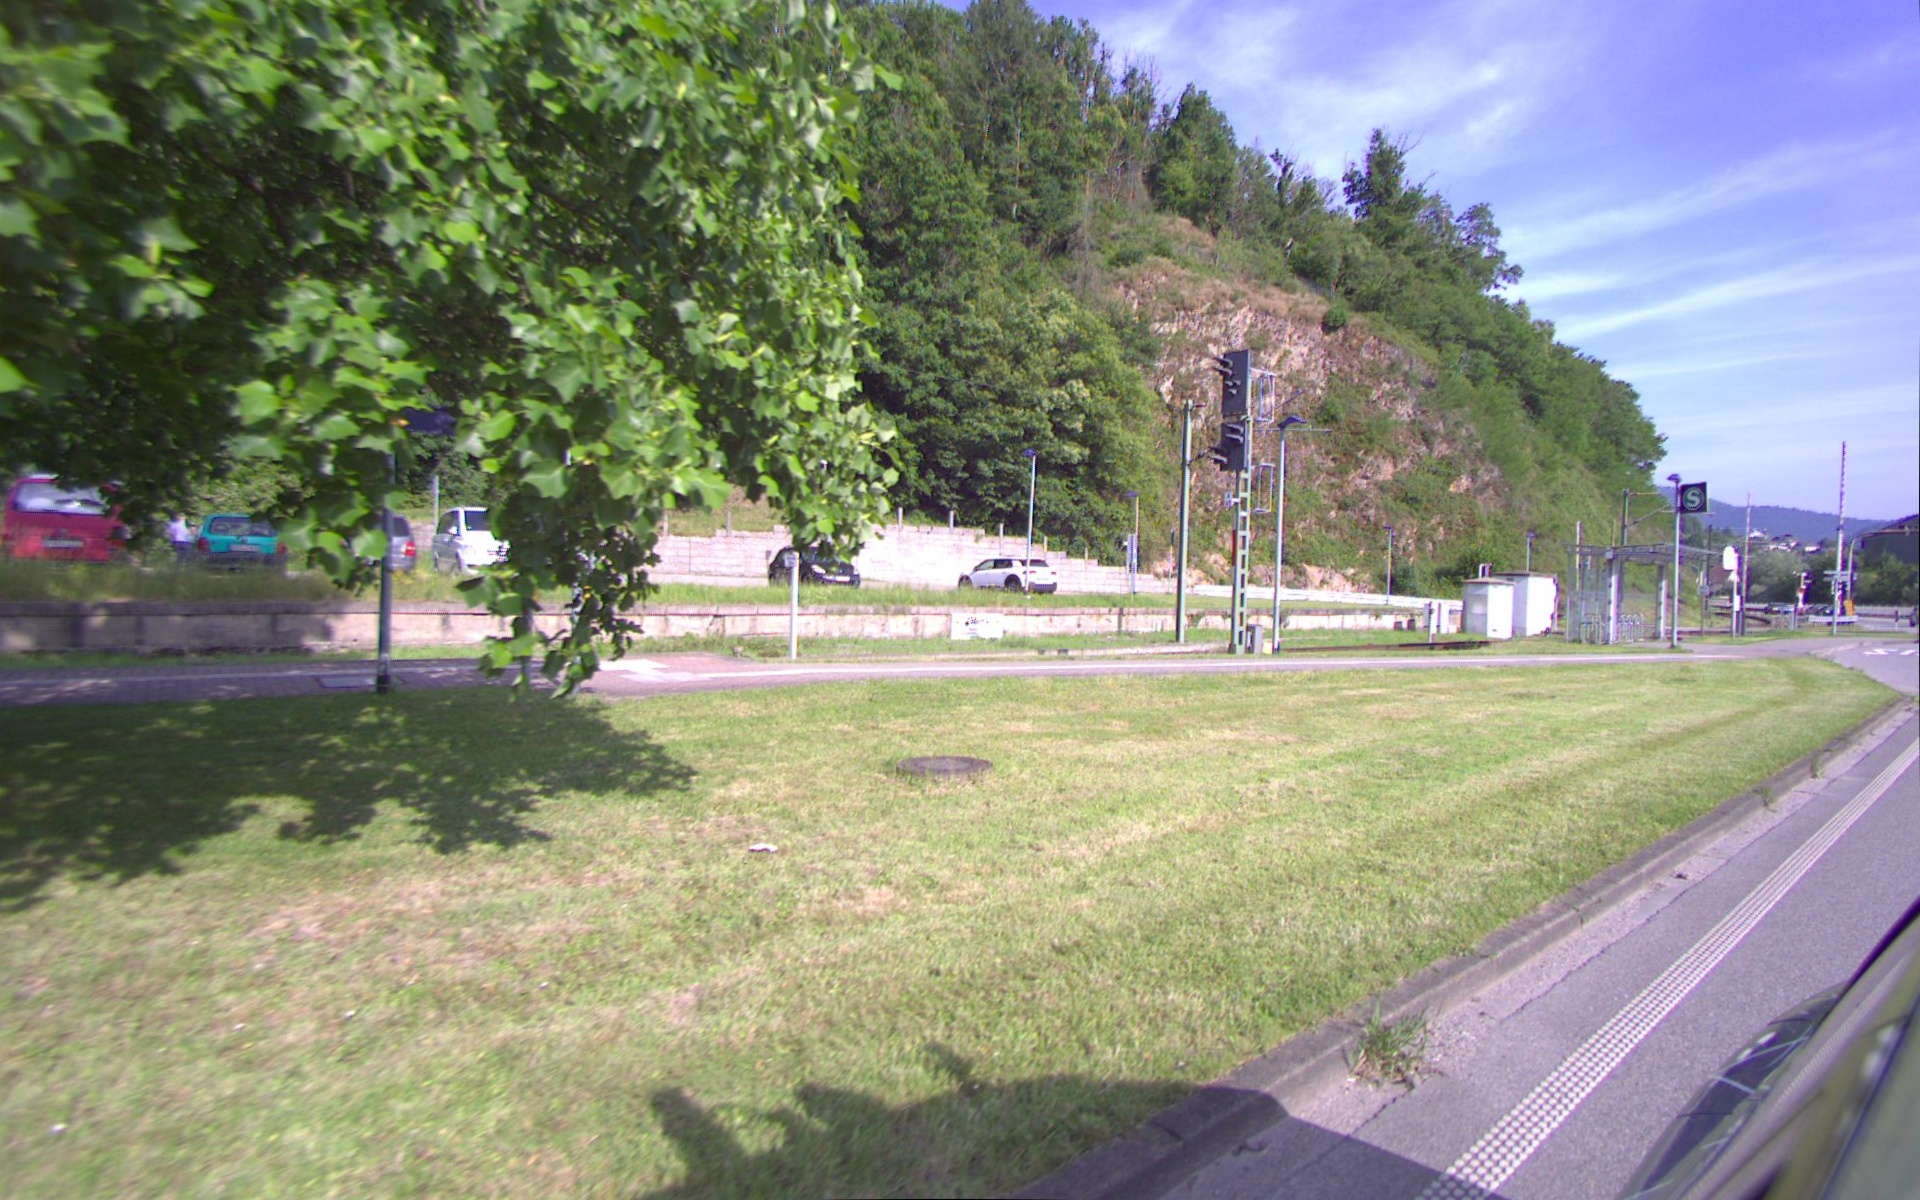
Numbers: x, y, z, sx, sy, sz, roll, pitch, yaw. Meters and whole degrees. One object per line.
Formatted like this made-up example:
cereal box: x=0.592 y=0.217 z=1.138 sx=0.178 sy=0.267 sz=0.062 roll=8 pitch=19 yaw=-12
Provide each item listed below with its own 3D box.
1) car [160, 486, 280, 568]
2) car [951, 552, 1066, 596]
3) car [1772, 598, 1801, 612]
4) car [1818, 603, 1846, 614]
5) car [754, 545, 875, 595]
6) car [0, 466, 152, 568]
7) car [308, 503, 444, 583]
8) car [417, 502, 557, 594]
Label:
car: x=-15.812 y=-1.460 z=21.617 sx=1.860 sy=1.487 sz=4.965 roll=1 pitch=1 yaw=-37
car: x=1.612 y=-0.903 z=35.235 sx=1.776 sy=1.415 sz=4.108 roll=1 pitch=1 yaw=-37
car: x=93.996 y=0.555 z=115.176 sx=1.862 sy=1.478 sz=3.691 roll=3 pitch=3 yaw=29
car: x=100.541 y=0.975 z=116.763 sx=1.636 sy=1.247 sz=4.051 roll=1 pitch=0 yaw=29
car: x=-4.479 y=-0.894 z=30.662 sx=1.797 sy=1.360 sz=4.277 roll=1 pitch=1 yaw=-37
car: x=-17.455 y=-1.533 z=20.205 sx=1.900 sy=1.712 sz=4.965 roll=1 pitch=1 yaw=-37
car: x=-13.523 y=-1.232 z=23.281 sx=2.101 sy=1.607 sz=4.965 roll=1 pitch=1 yaw=-37
car: x=-11.623 y=-1.194 z=24.673 sx=2.101 sy=1.968 sz=4.965 roll=1 pitch=1 yaw=-37
